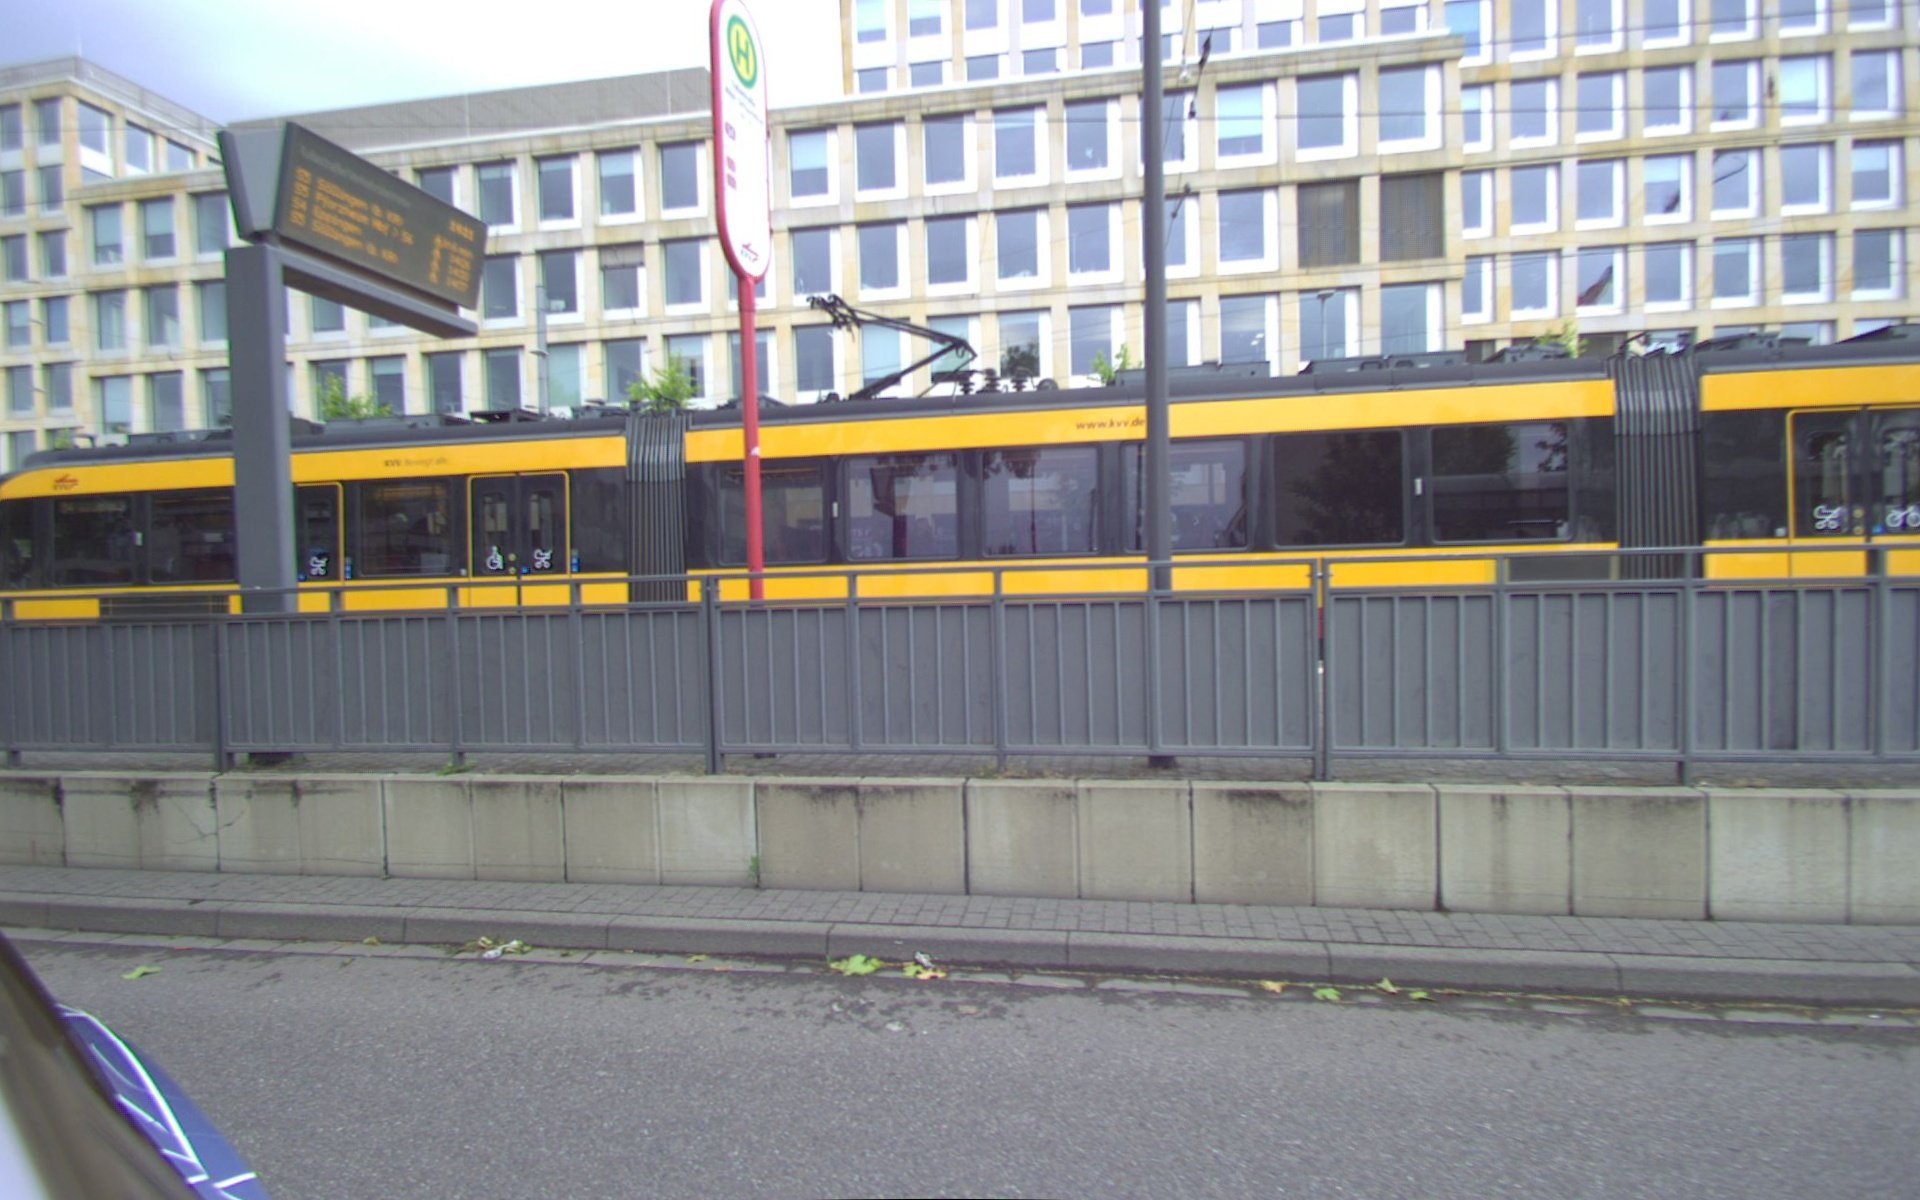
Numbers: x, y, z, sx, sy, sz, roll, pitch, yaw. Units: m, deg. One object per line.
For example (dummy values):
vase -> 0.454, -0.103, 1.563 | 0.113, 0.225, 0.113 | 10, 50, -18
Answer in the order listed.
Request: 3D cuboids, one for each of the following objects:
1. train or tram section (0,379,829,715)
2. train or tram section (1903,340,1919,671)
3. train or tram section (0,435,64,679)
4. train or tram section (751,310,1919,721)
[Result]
train or tram section -> -9.507, -0.589, 15.563 | 14.572, 4.210, 3.181 | -1, 1, 10
train or tram section -> 19.190, -1.273, 10.296 | 14.572, 4.210, 3.181 | -1, 1, 10
train or tram section -> -23.316, -0.623, 18.124 | 13.470, 4.210, 3.181 | -1, 1, 10
train or tram section -> 4.858, -0.815, 12.915 | 14.572, 4.210, 3.181 | -1, 1, 10
